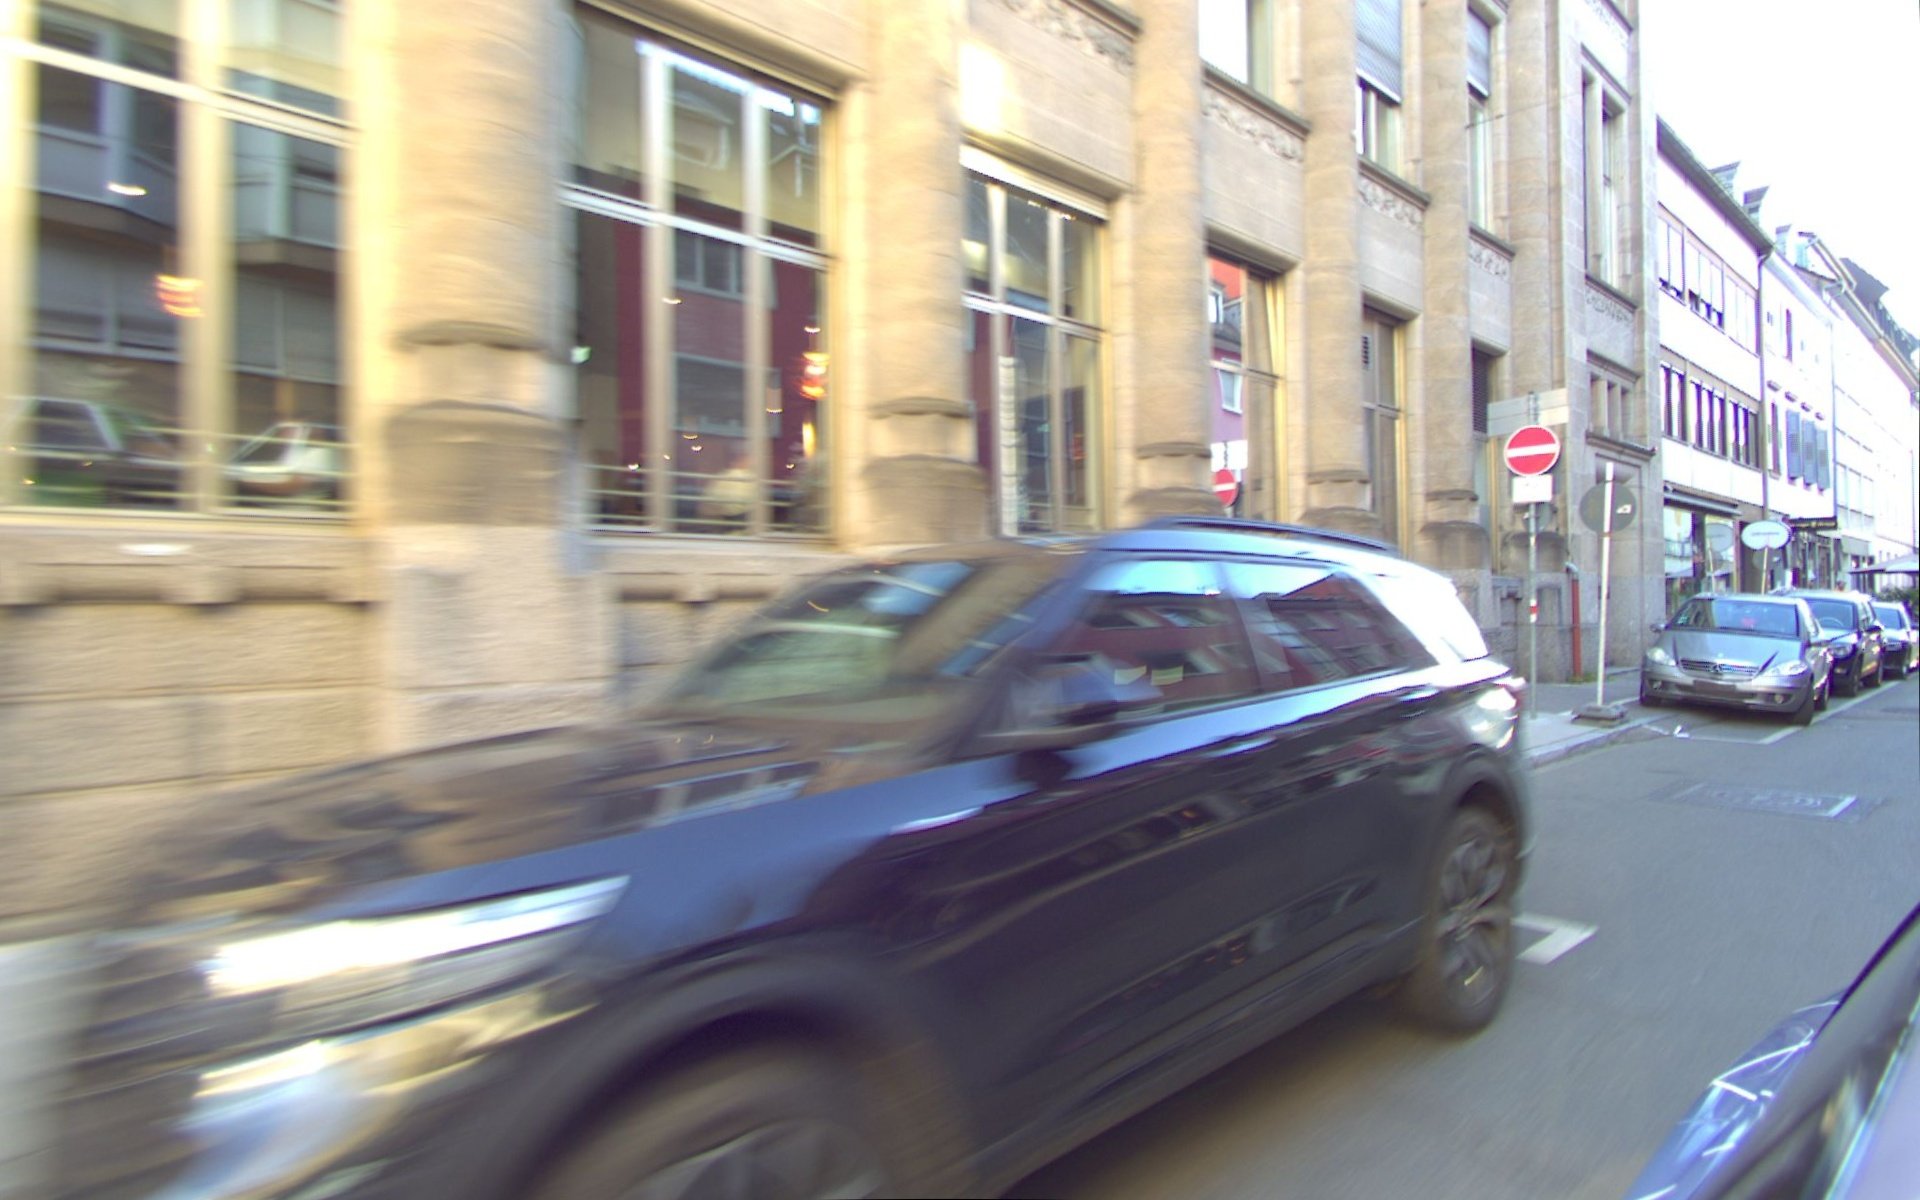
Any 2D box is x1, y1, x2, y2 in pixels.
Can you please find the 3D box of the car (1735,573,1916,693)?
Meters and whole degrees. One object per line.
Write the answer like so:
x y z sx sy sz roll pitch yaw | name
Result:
14.964 0.512 17.425 4.165 1.830 1.673 -1 -2 -41 | car

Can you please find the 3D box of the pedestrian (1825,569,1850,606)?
30.000 -0.437 34.605 0.599 1.258 0.566 -1 0 -41 | pedestrian

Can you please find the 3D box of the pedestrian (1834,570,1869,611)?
27.625 -0.293 31.373 0.635 1.258 0.736 -1 0 -41 | pedestrian

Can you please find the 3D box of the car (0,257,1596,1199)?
0.188 0.576 3.326 4.851 1.806 1.995 0 -1 -43 | car

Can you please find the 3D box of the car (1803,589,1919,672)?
18.920 0.555 20.804 4.904 1.536 1.692 -1 -1 -42 | car

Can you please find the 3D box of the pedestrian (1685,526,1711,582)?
18.693 -1.158 25.633 0.417 1.367 0.436 -1 -1 -44 | pedestrian

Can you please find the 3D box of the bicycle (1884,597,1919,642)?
27.715 0.585 28.898 0.586 1.243 1.873 0 3 -40 | bicycle

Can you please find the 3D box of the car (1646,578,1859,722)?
10.925 0.575 13.856 3.934 1.687 1.774 -1 0 -44 | car

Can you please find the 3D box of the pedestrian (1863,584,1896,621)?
32.021 0.092 35.257 0.634 1.259 0.736 -1 -1 -39 | pedestrian

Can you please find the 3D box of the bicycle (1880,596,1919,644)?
27.212 0.579 28.453 0.586 1.318 1.873 0 3 -40 | bicycle
